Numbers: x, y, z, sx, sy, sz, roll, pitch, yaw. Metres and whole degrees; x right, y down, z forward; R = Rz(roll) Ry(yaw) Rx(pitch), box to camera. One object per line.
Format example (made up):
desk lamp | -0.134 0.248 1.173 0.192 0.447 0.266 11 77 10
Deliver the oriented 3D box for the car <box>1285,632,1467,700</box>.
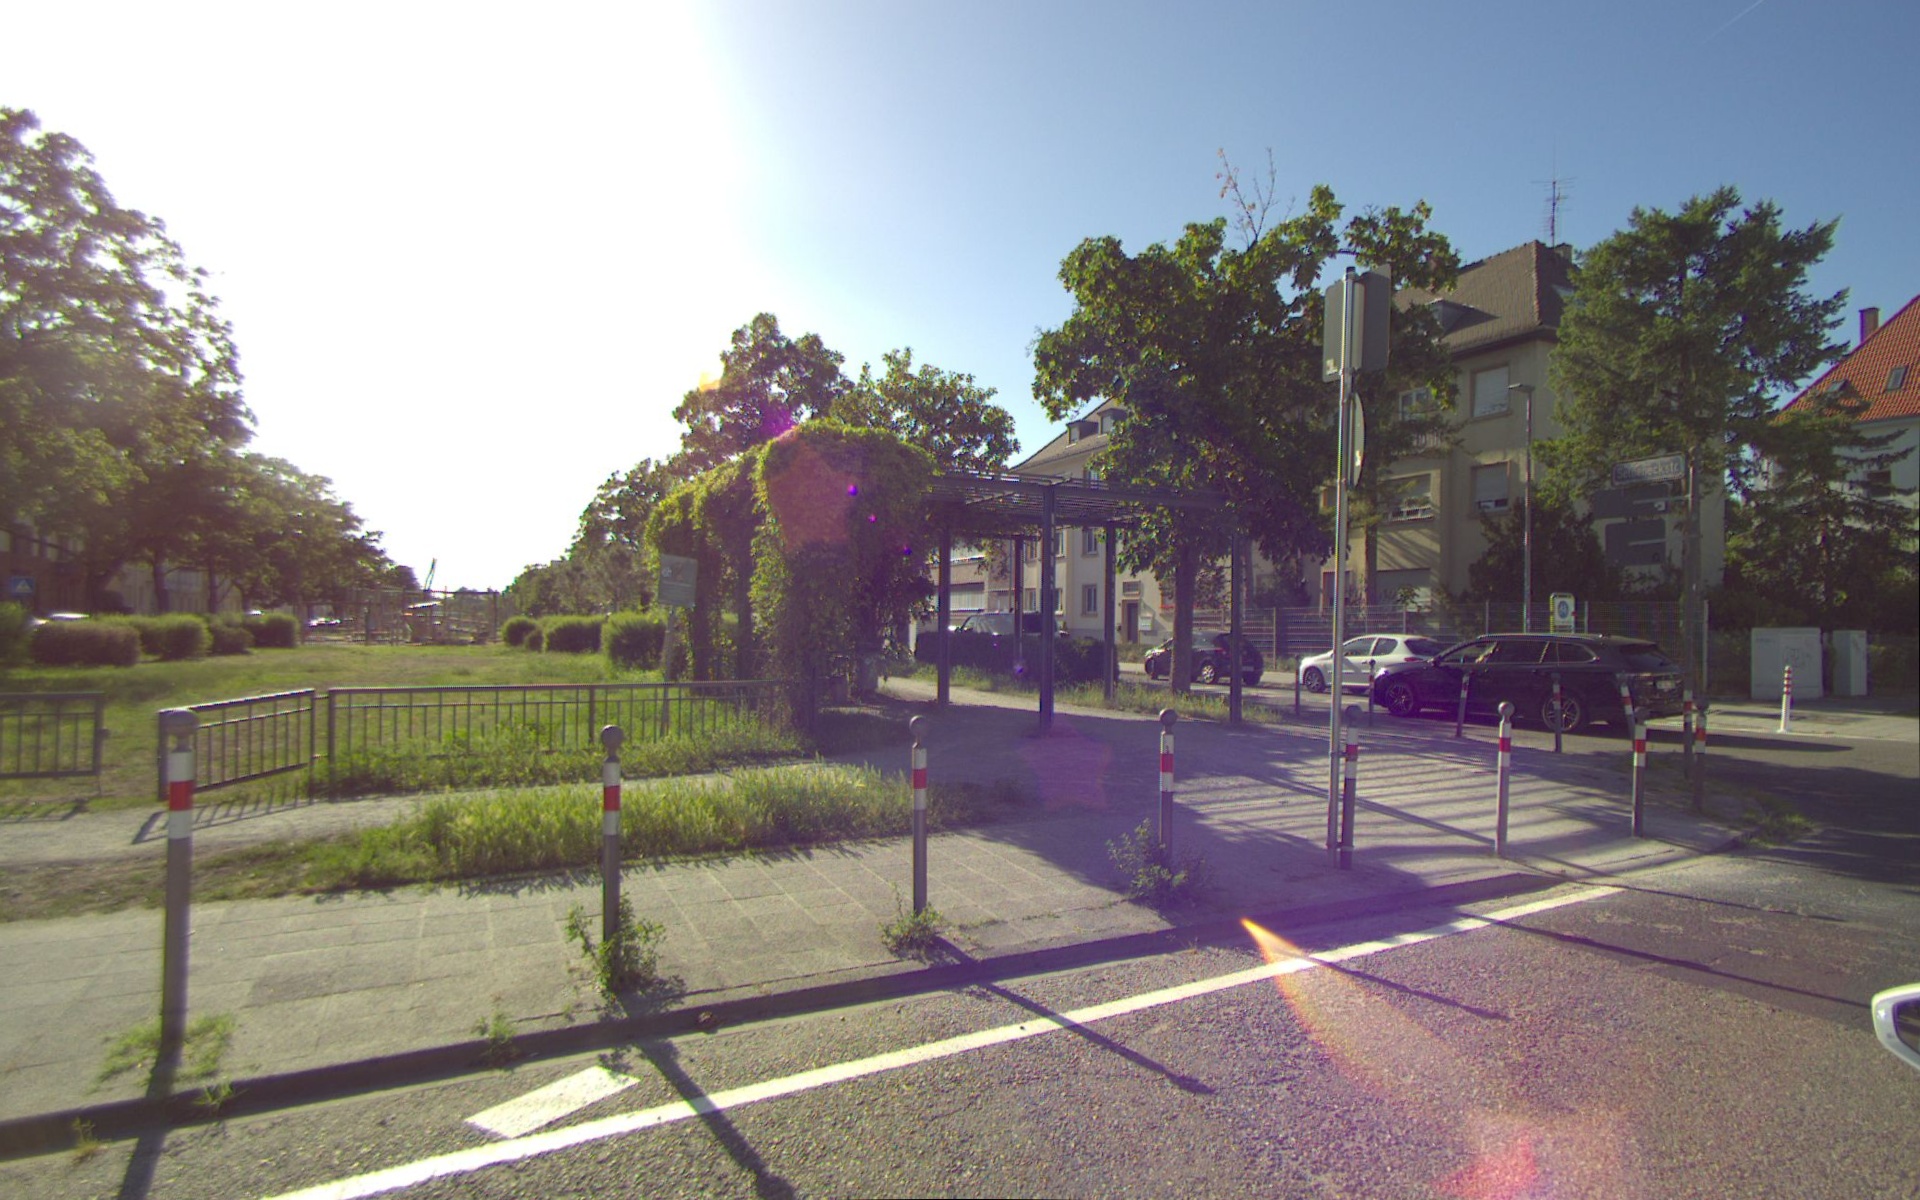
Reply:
car | 9.598 1.490 23.470 1.685 1.416 3.751 2 -2 -27

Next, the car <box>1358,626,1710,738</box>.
car | 9.169 1.207 16.535 1.976 1.545 4.720 1 -2 -29

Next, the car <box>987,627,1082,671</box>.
car | 2.737 1.814 37.811 1.778 1.514 3.974 2 -2 -26

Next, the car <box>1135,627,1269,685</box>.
car | 6.819 1.551 28.644 1.655 1.514 3.801 2 -2 -26

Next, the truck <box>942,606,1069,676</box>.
truck | 1.361 1.276 32.199 1.974 2.063 4.841 1 -1 -27
